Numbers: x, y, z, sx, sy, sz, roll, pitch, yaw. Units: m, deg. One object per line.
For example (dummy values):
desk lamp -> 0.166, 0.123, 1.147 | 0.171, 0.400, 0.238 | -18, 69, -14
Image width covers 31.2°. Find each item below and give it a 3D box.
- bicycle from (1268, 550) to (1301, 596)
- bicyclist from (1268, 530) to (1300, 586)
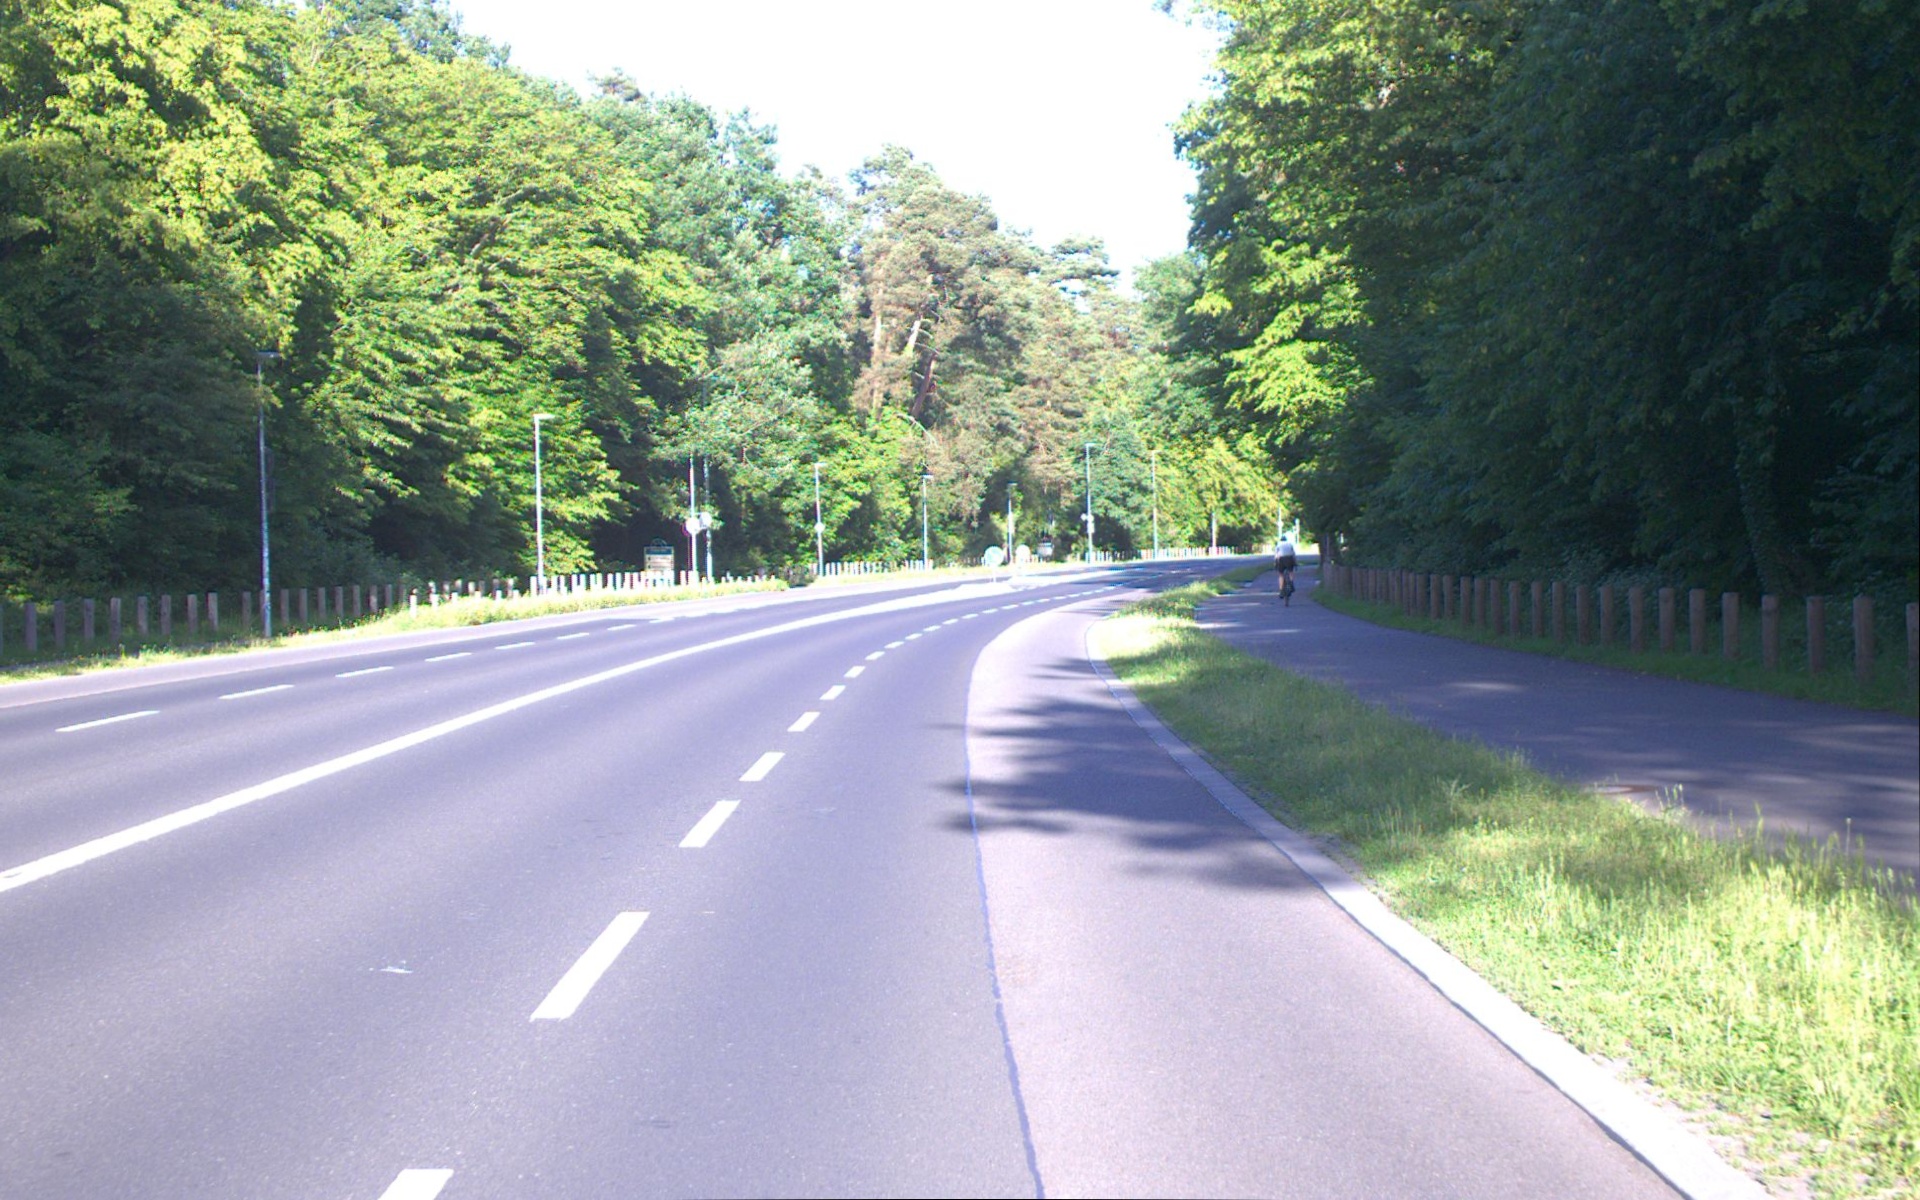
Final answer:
bicycle -> 7.608, -0.638, 80.613 | 0.712, 1.052, 2.052 | -1, 1, 7
bicyclist -> 7.627, -0.991, 80.819 | 0.712, 1.284, 1.104 | -1, 1, 7
